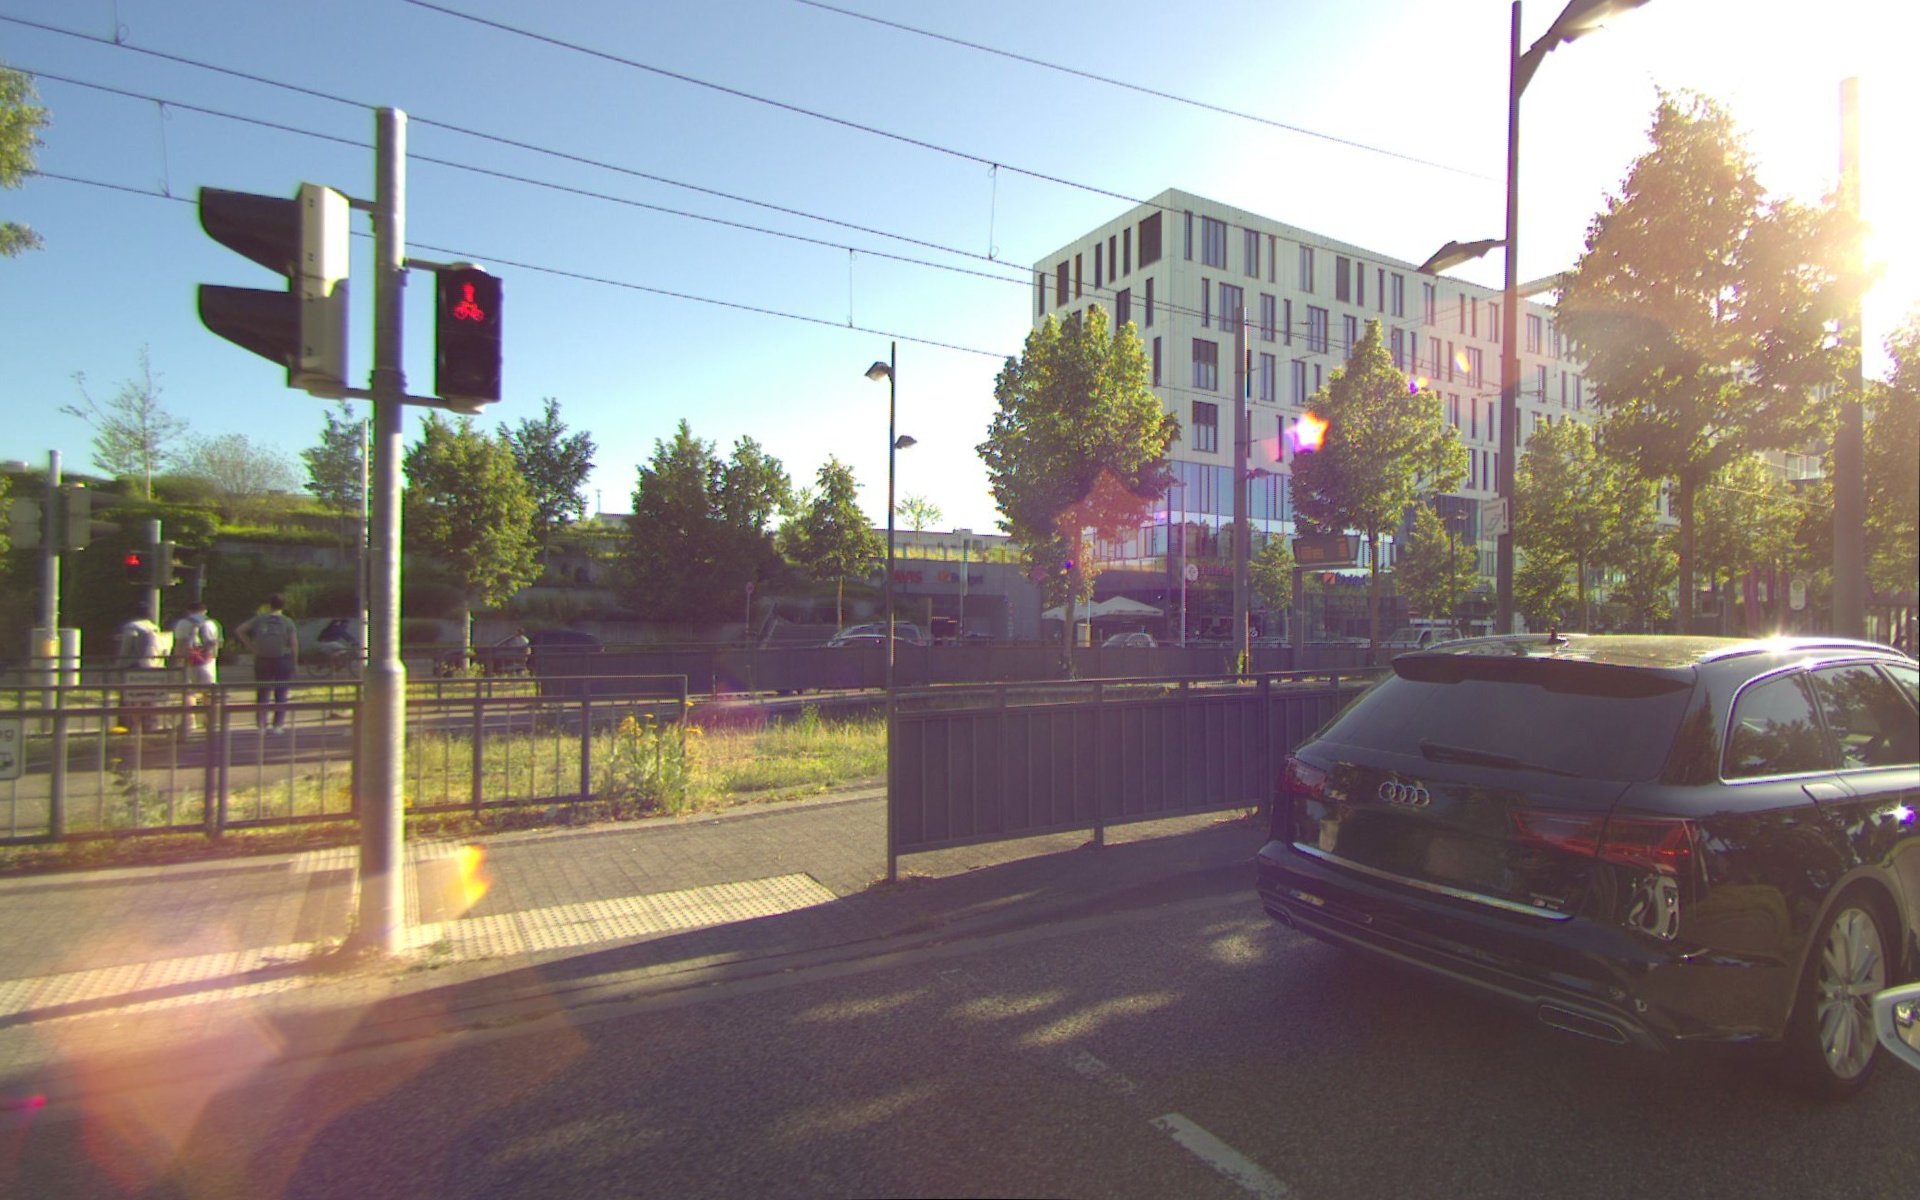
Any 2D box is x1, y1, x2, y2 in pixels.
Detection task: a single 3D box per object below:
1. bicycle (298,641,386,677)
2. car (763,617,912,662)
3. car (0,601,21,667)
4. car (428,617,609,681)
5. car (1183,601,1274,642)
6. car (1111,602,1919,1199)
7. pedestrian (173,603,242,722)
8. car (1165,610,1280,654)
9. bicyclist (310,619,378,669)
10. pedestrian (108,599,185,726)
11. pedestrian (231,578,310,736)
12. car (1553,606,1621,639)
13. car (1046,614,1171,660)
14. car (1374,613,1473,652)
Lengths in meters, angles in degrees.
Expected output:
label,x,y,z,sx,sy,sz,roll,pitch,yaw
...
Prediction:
label,x,y,z,sx,sy,sz,roll,pitch,yaw
bicycle,-18.069,1.728,29.414,2.163,1.014,0.494,2,0,-31
car,-4.084,1.313,33.574,4.555,1.343,1.904,2,0,-29
car,-23.669,0.703,21.706,4.555,1.454,1.871,2,0,-29
car,-12.607,1.401,28.751,4.555,1.642,1.871,2,0,-29
car,14.295,1.147,53.382,4.508,2.040,1.984,2,0,-29
car,3.286,0.827,4.462,5.022,1.500,1.945,1,0,-29
pedestrian,-9.937,0.816,13.288,0.595,1.516,0.541,2,0,-26
car,11.016,1.349,42.170,4.555,1.694,1.984,2,0,-29
bicyclist,-18.029,1.302,29.432,1.641,1.424,0.486,2,0,-31
pedestrian,-10.150,0.770,12.550,0.580,1.538,0.548,2,0,-25
pedestrian,-8.457,0.671,12.356,0.718,1.860,0.816,2,0,-32
car,42.828,1.534,68.584,4.508,2.040,1.984,2,0,-29
car,5.835,1.452,39.375,4.555,1.630,1.984,2,0,-29
car,22.810,1.612,49.424,4.794,1.737,1.984,2,0,-29
